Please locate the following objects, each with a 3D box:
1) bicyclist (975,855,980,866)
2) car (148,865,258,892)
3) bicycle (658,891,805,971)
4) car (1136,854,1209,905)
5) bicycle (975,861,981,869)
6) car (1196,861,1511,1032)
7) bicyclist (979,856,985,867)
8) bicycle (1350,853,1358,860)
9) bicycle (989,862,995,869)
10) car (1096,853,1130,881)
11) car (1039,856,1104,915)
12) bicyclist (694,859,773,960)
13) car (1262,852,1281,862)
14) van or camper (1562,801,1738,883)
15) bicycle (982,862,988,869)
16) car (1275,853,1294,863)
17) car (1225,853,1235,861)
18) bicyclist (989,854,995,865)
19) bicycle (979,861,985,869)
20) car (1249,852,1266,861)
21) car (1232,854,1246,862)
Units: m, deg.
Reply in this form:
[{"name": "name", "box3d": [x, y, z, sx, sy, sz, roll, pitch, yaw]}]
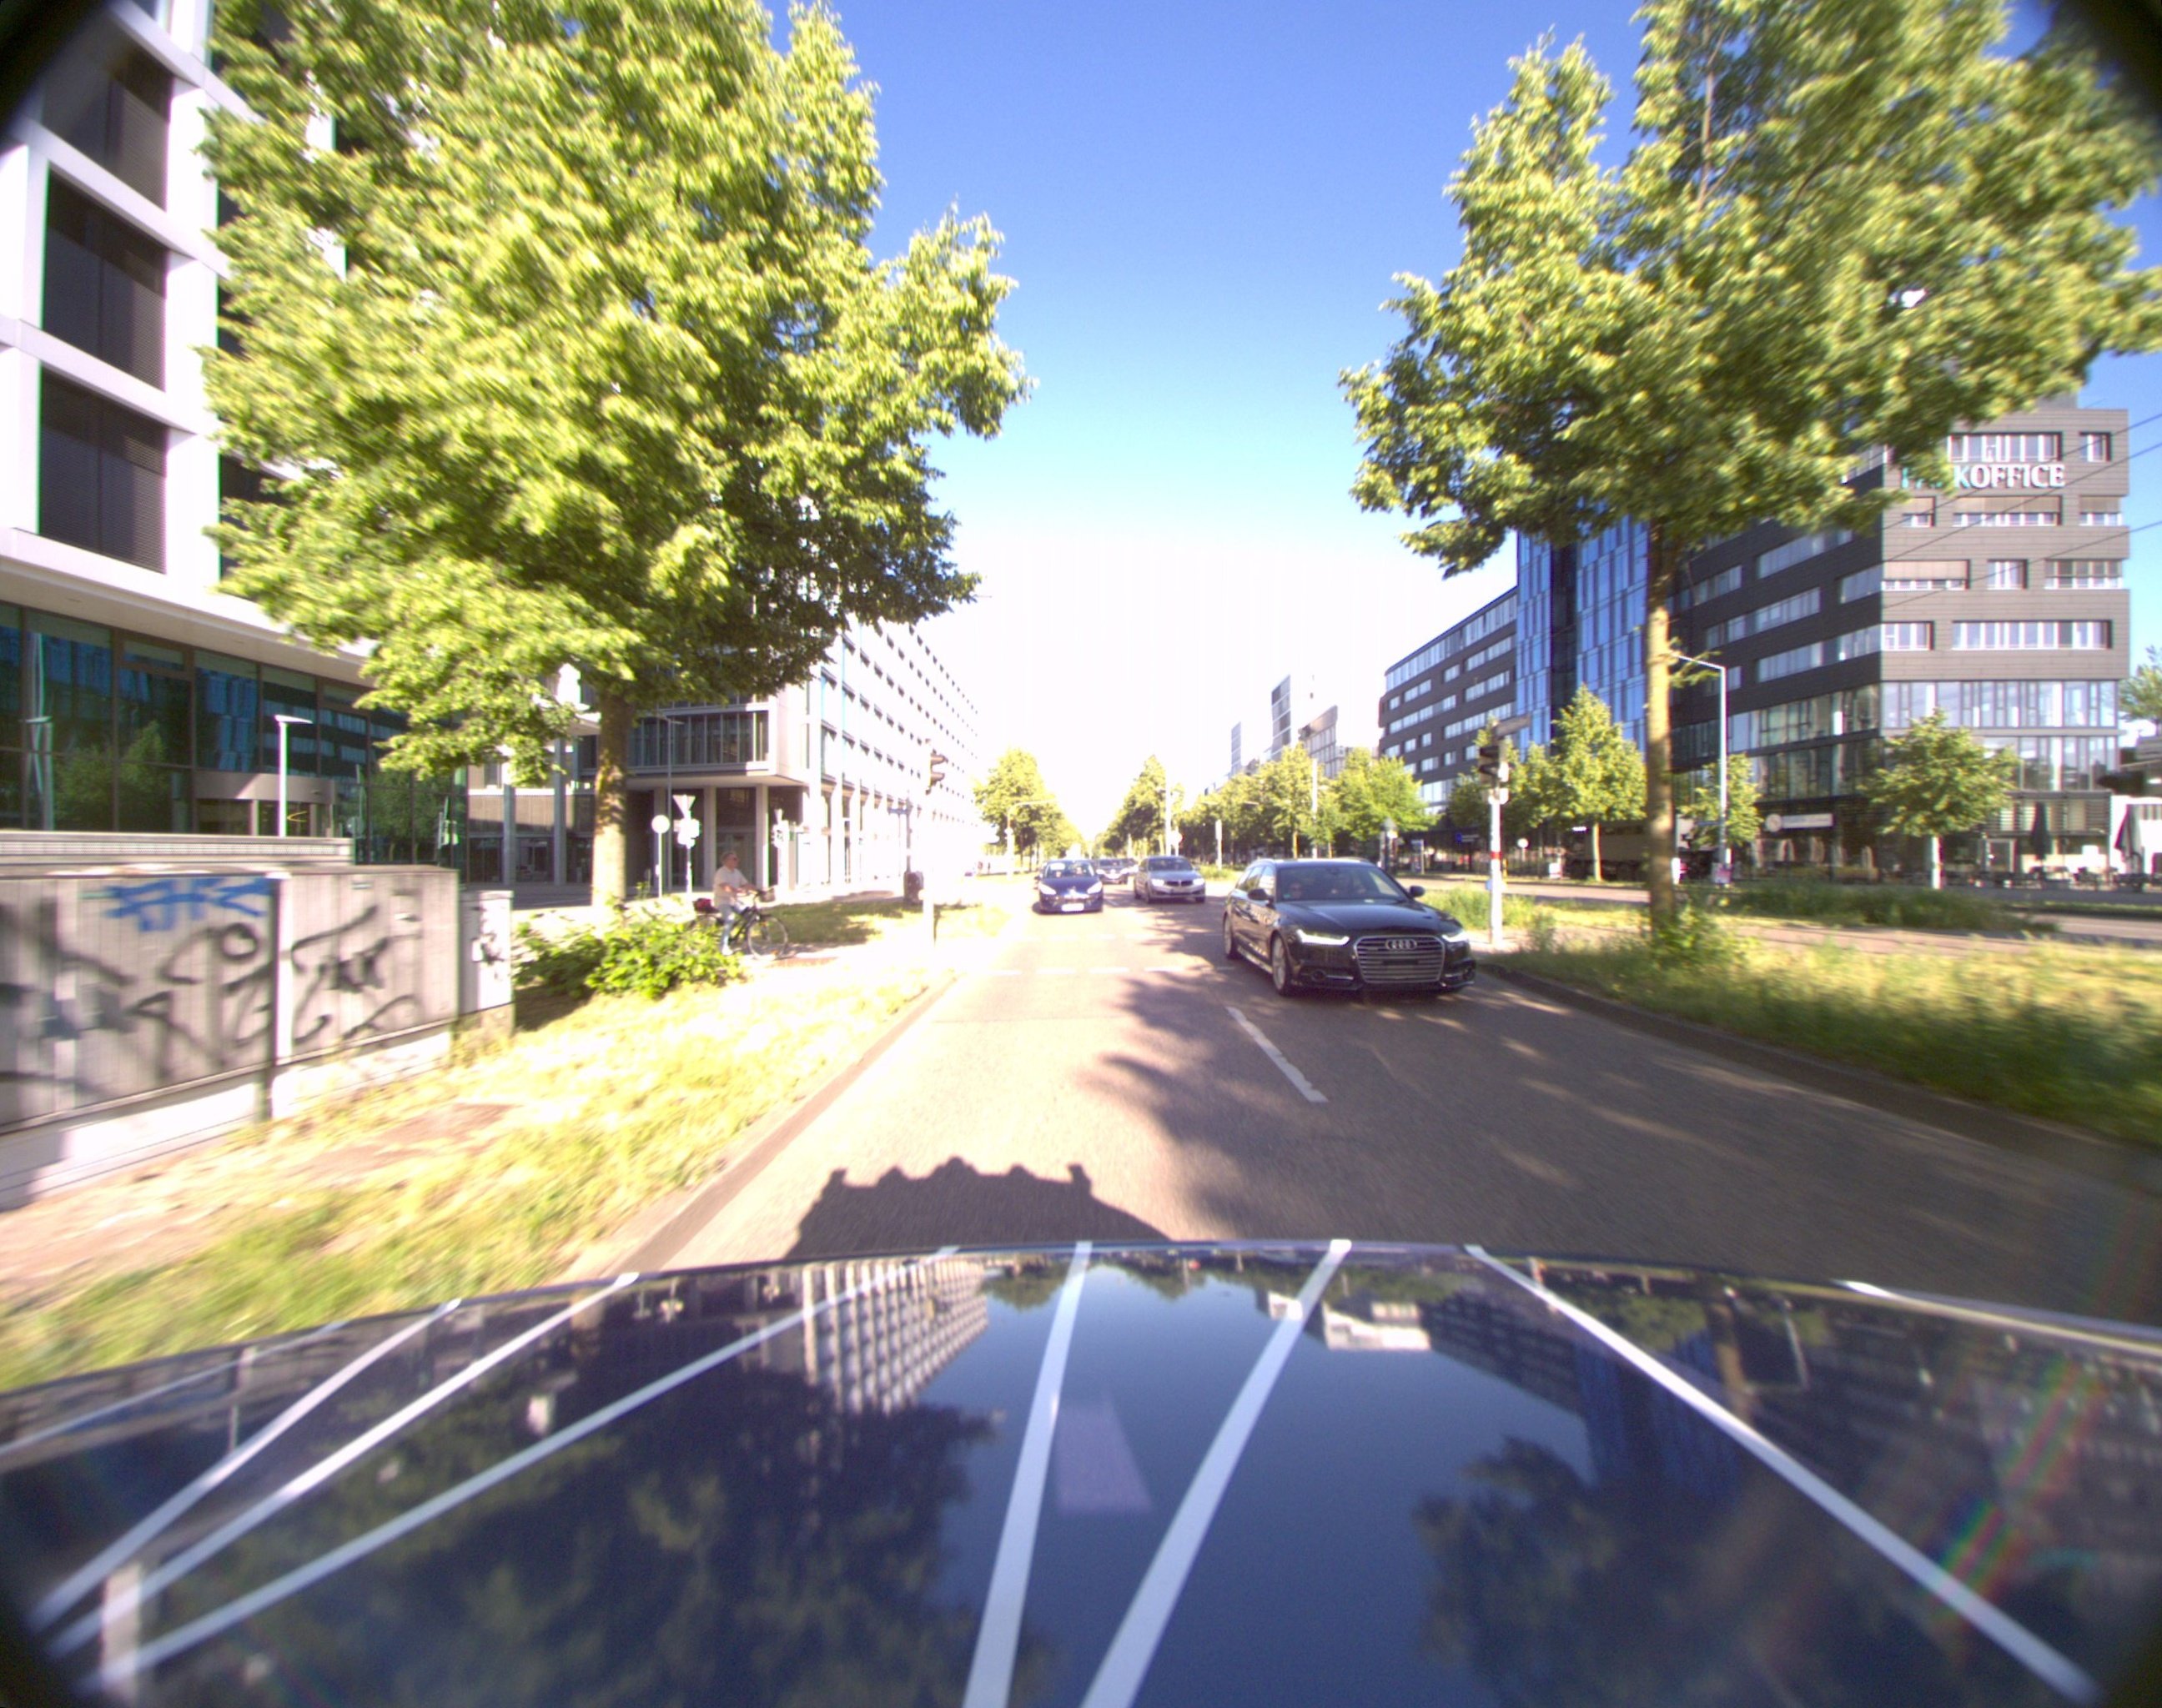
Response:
[{"name": "bicyclist", "box3d": [-11.885, 0.787, 87.394, 0.448, 1.282, 0.418, -1, 1, 2]}, {"name": "car", "box3d": [-52.805, 1.432, 45.793, 1.657, 1.496, 4.004, 0, 0, 13]}, {"name": "bicycle", "box3d": [-5.443, 1.185, 11.903, 1.959, 1.167, 0.744, 0, 0, 4]}, {"name": "car", "box3d": [2.899, 0.763, 25.000, 1.812, 1.480, 4.742, 0, 0, 0]}, {"name": "bicycle", "box3d": [-11.871, 1.277, 87.426, 0.415, 0.813, 1.320, -1, 1, 2]}, {"name": "car", "box3d": [2.814, 0.846, 9.081, 1.813, 1.448, 4.506, -1, 0, -5]}, {"name": "bicyclist", "box3d": [-11.857, 0.871, 90.876, 0.534, 1.282, 0.457, -1, 1, 2]}, {"name": "bicycle", "box3d": [39.003, 0.337, 108.528, 0.528, 1.028, 1.848, -1, 1, 1]}, {"name": "bicycle", "box3d": [-10.608, 1.405, 90.788, 0.464, 0.813, 1.344, -1, 1, 2]}, {"name": "car", "box3d": [1.776, 0.729, 43.387, 1.812, 1.513, 4.029, 0, 0, 1]}, {"name": "car", "box3d": [-0.210, 0.817, 21.636, 1.686, 1.513, 3.785, 0, 0, 1]}, {"name": "bicyclist", "box3d": [-5.429, 0.850, 11.911, 0.849, 1.522, 0.774, 0, 0, 3]}, {"name": "car", "box3d": [33.782, 0.568, 134.710, 2.012, 1.689, 4.791, 0, 0, -2]}, {"name": "van or camper", "box3d": [32.454, -0.623, 44.113, 2.760, 4.168, 10.229, -1, 0, 1]}, {"name": "bicycle", "box3d": [-11.086, 1.328, 87.522, 0.464, 0.813, 1.344, -1, 1, 2]}, {"name": "car", "box3d": [33.290, 0.669, 124.588, 1.858, 1.674, 4.792, 0, 0, 1]}, {"name": "car", "box3d": [33.952, 0.672, 173.186, 1.601, 1.659, 3.743, 0, 0, 1]}, {"name": "bicyclist", "box3d": [-10.629, 0.698, 90.788, 0.534, 1.282, 0.521, -1, 1, 2]}, {"name": "bicycle", "box3d": [-11.829, 1.313, 90.933, 0.464, 0.813, 1.344, -1, 1, 2]}, {"name": "car", "box3d": [33.661, 0.491, 145.051, 2.012, 1.689, 4.791, 0, 0, -2]}, {"name": "car", "box3d": [33.827, 0.807, 162.550, 2.012, 1.689, 4.792, 0, 0, 0]}]
